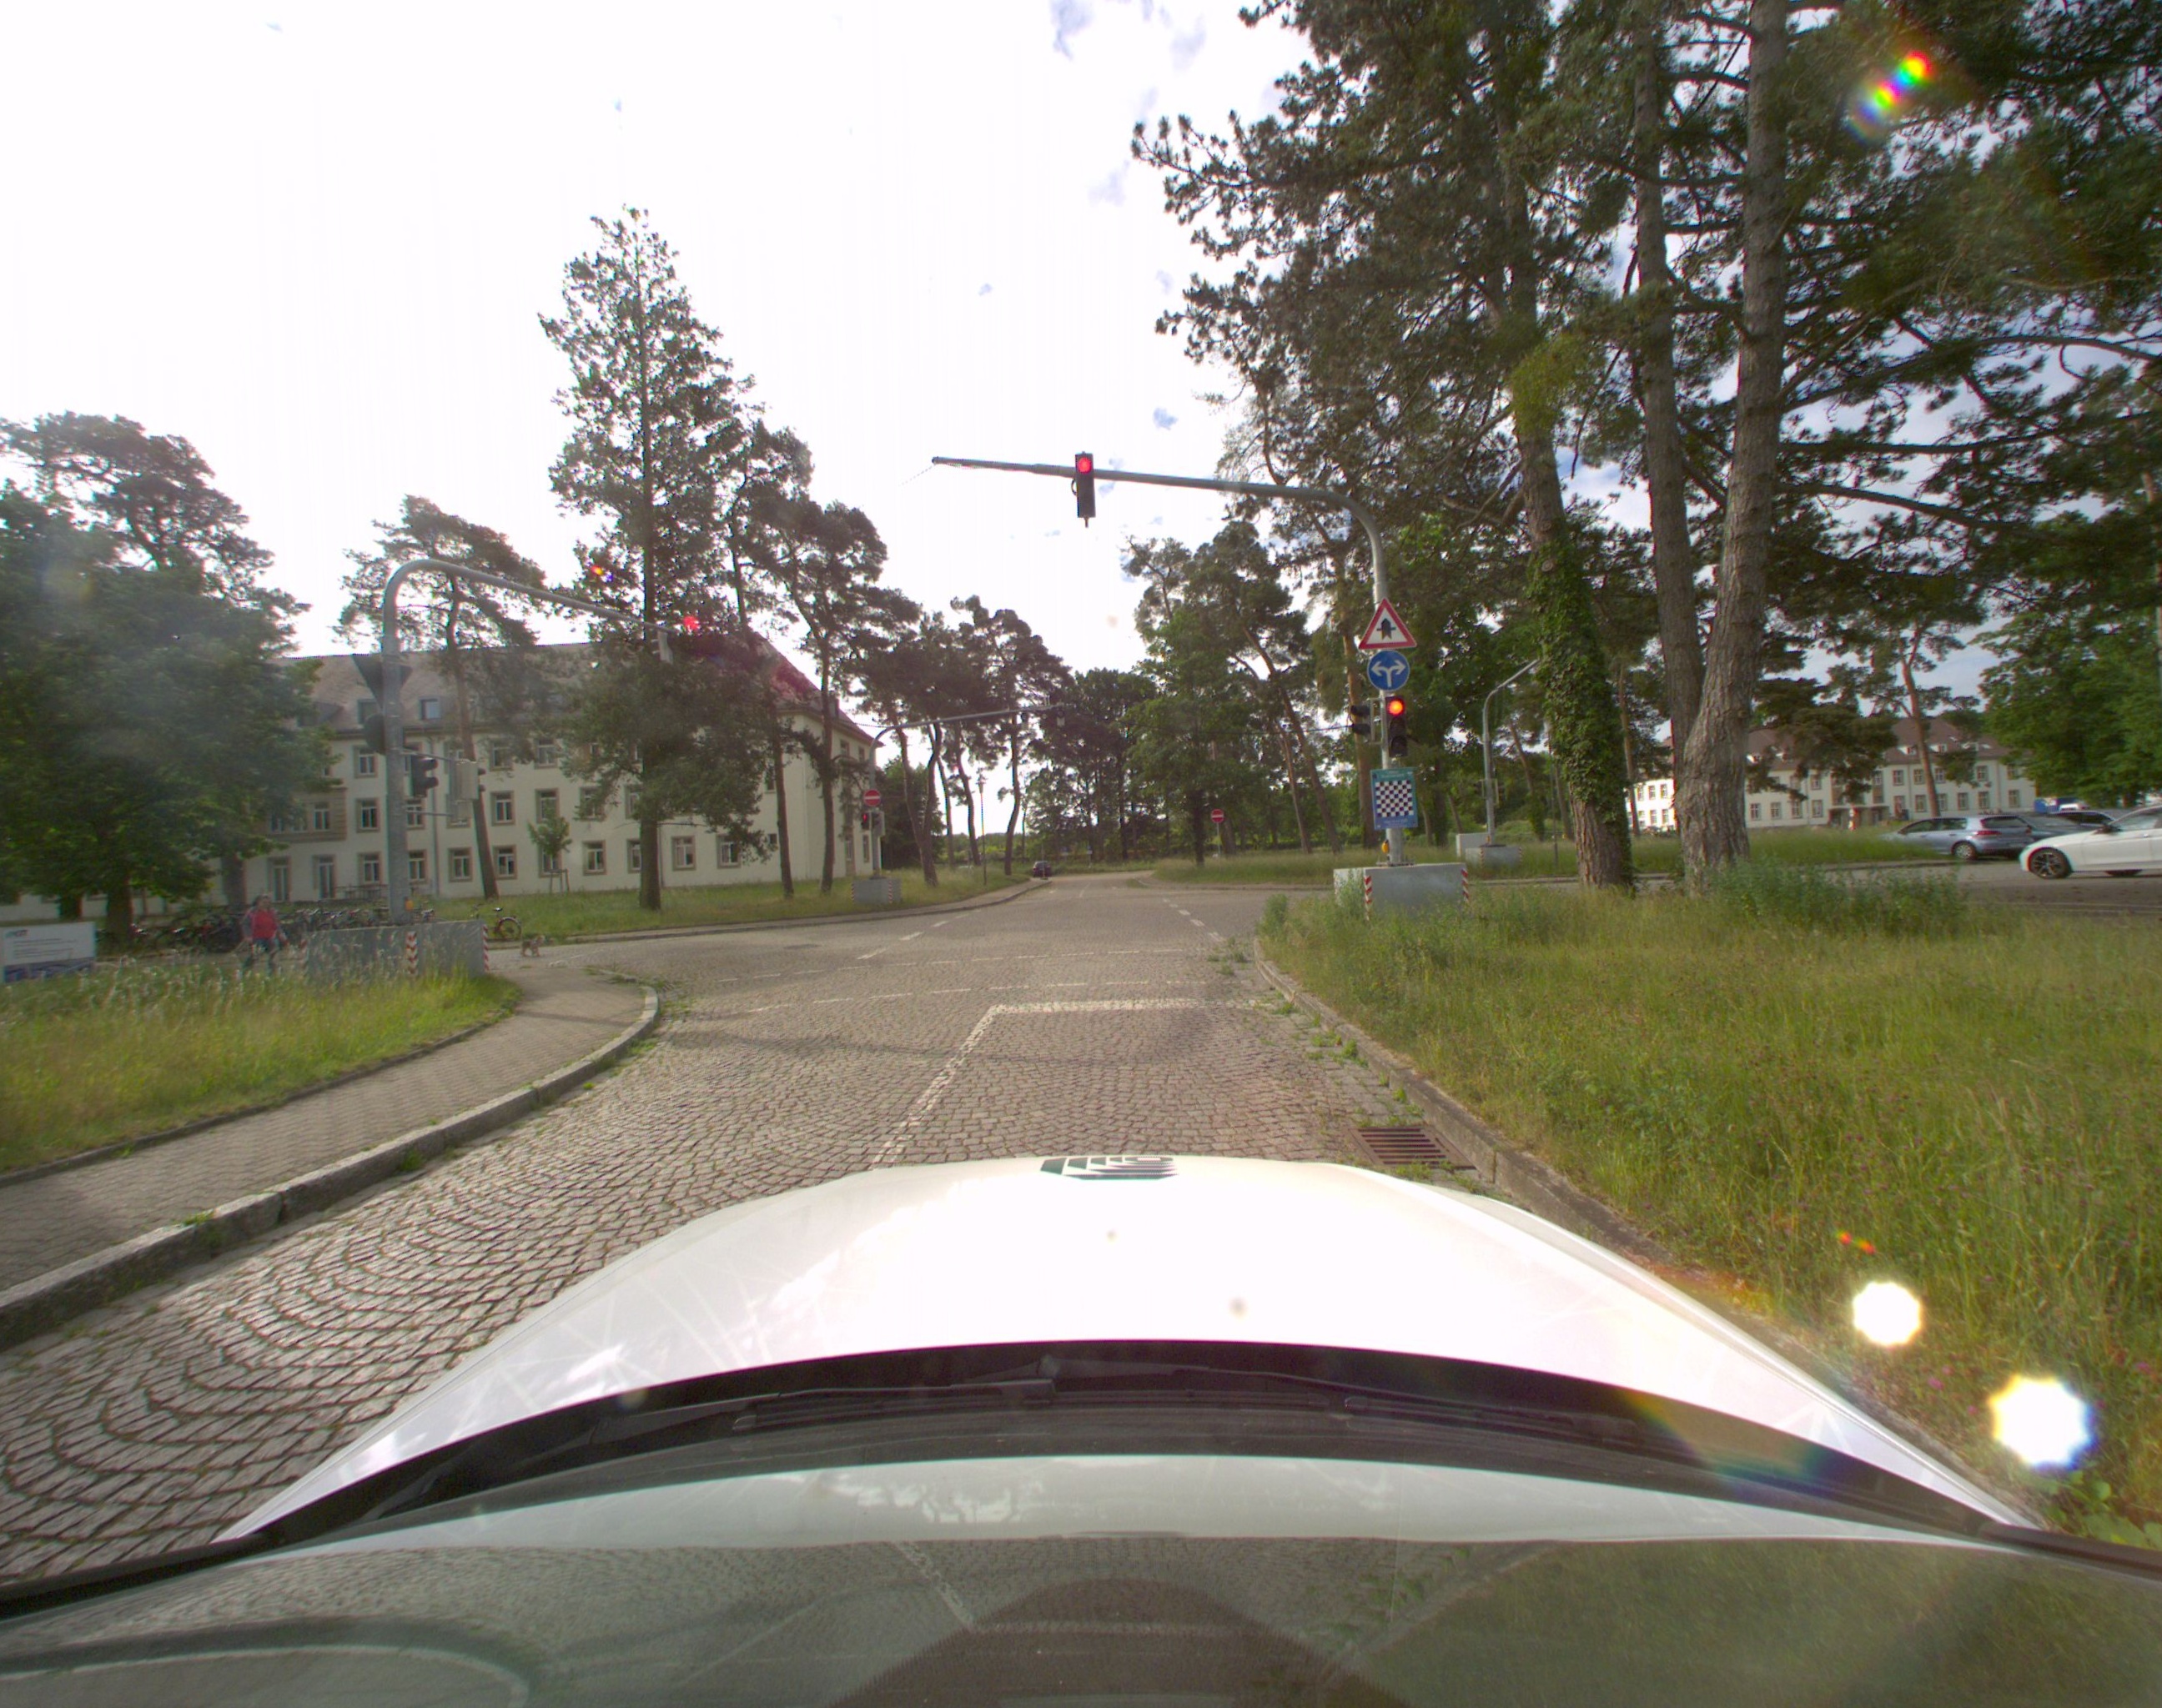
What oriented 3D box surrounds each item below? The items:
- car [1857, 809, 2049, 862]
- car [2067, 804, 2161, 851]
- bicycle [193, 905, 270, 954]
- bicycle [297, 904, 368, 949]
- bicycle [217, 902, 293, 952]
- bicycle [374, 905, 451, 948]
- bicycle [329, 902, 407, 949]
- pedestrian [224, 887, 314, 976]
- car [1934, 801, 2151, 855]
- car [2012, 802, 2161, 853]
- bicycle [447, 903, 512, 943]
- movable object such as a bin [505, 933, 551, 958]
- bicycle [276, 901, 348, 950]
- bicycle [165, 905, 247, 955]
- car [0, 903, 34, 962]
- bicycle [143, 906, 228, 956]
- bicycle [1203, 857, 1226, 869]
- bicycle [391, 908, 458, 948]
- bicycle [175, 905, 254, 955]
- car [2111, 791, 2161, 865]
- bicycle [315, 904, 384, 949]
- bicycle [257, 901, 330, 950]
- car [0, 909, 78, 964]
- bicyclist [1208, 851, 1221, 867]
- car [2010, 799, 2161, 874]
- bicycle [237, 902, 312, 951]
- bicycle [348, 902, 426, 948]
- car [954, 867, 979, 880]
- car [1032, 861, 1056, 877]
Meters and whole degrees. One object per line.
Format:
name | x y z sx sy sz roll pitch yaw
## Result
car | 28.950 -0.567 27.280 1.745 1.524 4.451 -3 0 3
car | 36.662 -0.945 27.290 1.748 1.524 4.444 -3 0 -2
bicycle | -24.911 2.197 23.920 0.447 1.283 1.695 -3 0 0
bicycle | -21.952 2.108 23.922 0.447 1.178 1.695 -3 0 0
bicycle | -24.248 2.124 23.941 0.447 1.283 1.695 -3 0 0
bicycle | -19.673 2.106 24.028 0.573 1.078 1.996 -3 0 0
bicycle | -20.954 2.078 23.991 0.526 1.178 1.930 -3 0 0
pedestrian | -16.312 1.533 16.371 0.852 1.668 0.944 -3 0 19
car | 31.364 -0.788 26.810 1.748 1.524 4.443 -3 0 -2
car | 34.016 -0.865 26.732 1.748 1.524 4.444 -3 0 -2
bicycle | -16.651 1.907 22.561 1.453 0.996 0.452 -3 -1 2
movable object such as a bin | -12.176 2.010 17.927 0.744 0.503 0.447 -2 0 17
bicycle | -22.665 2.078 24.036 0.447 1.283 1.695 -3 0 0
bicycle | -25.863 2.228 24.114 0.441 1.283 1.785 -3 0 0
car | -37.315 2.712 26.176 1.832 1.907 4.137 -3 0 2
bicycle | -26.329 2.241 23.985 0.447 1.283 1.827 -3 0 0
bicycle | 13.093 0.851 79.883 1.981 1.095 0.809 -3 0 -3
bicycle | -18.172 2.045 22.551 1.453 0.996 0.452 -3 -1 2
bicycle | -25.397 2.211 23.912 0.447 1.283 1.695 -3 0 0
car | 23.993 -0.609 15.976 1.861 1.577 4.444 -3 0 -2
bicycle | -21.466 2.106 23.938 0.447 1.178 1.695 -3 0 0
bicycle | -23.170 2.093 23.998 0.447 1.283 1.695 -3 0 0
car | -34.226 2.649 25.041 1.832 1.556 3.899 -3 0 2
bicyclist | 13.095 0.536 79.877 0.972 1.510 0.807 -3 0 -2
car | 21.418 -0.375 15.738 1.748 1.415 4.444 -3 -1 -2
bicycle | -23.685 2.108 23.960 0.447 1.283 1.695 -3 0 0
bicycle | -20.371 2.061 23.958 0.573 1.178 1.954 -3 0 0
car | -11.341 1.892 80.975 1.682 1.156 4.003 -3 0 3
car | -3.579 1.445 79.676 1.985 1.508 4.003 -1 0 3
